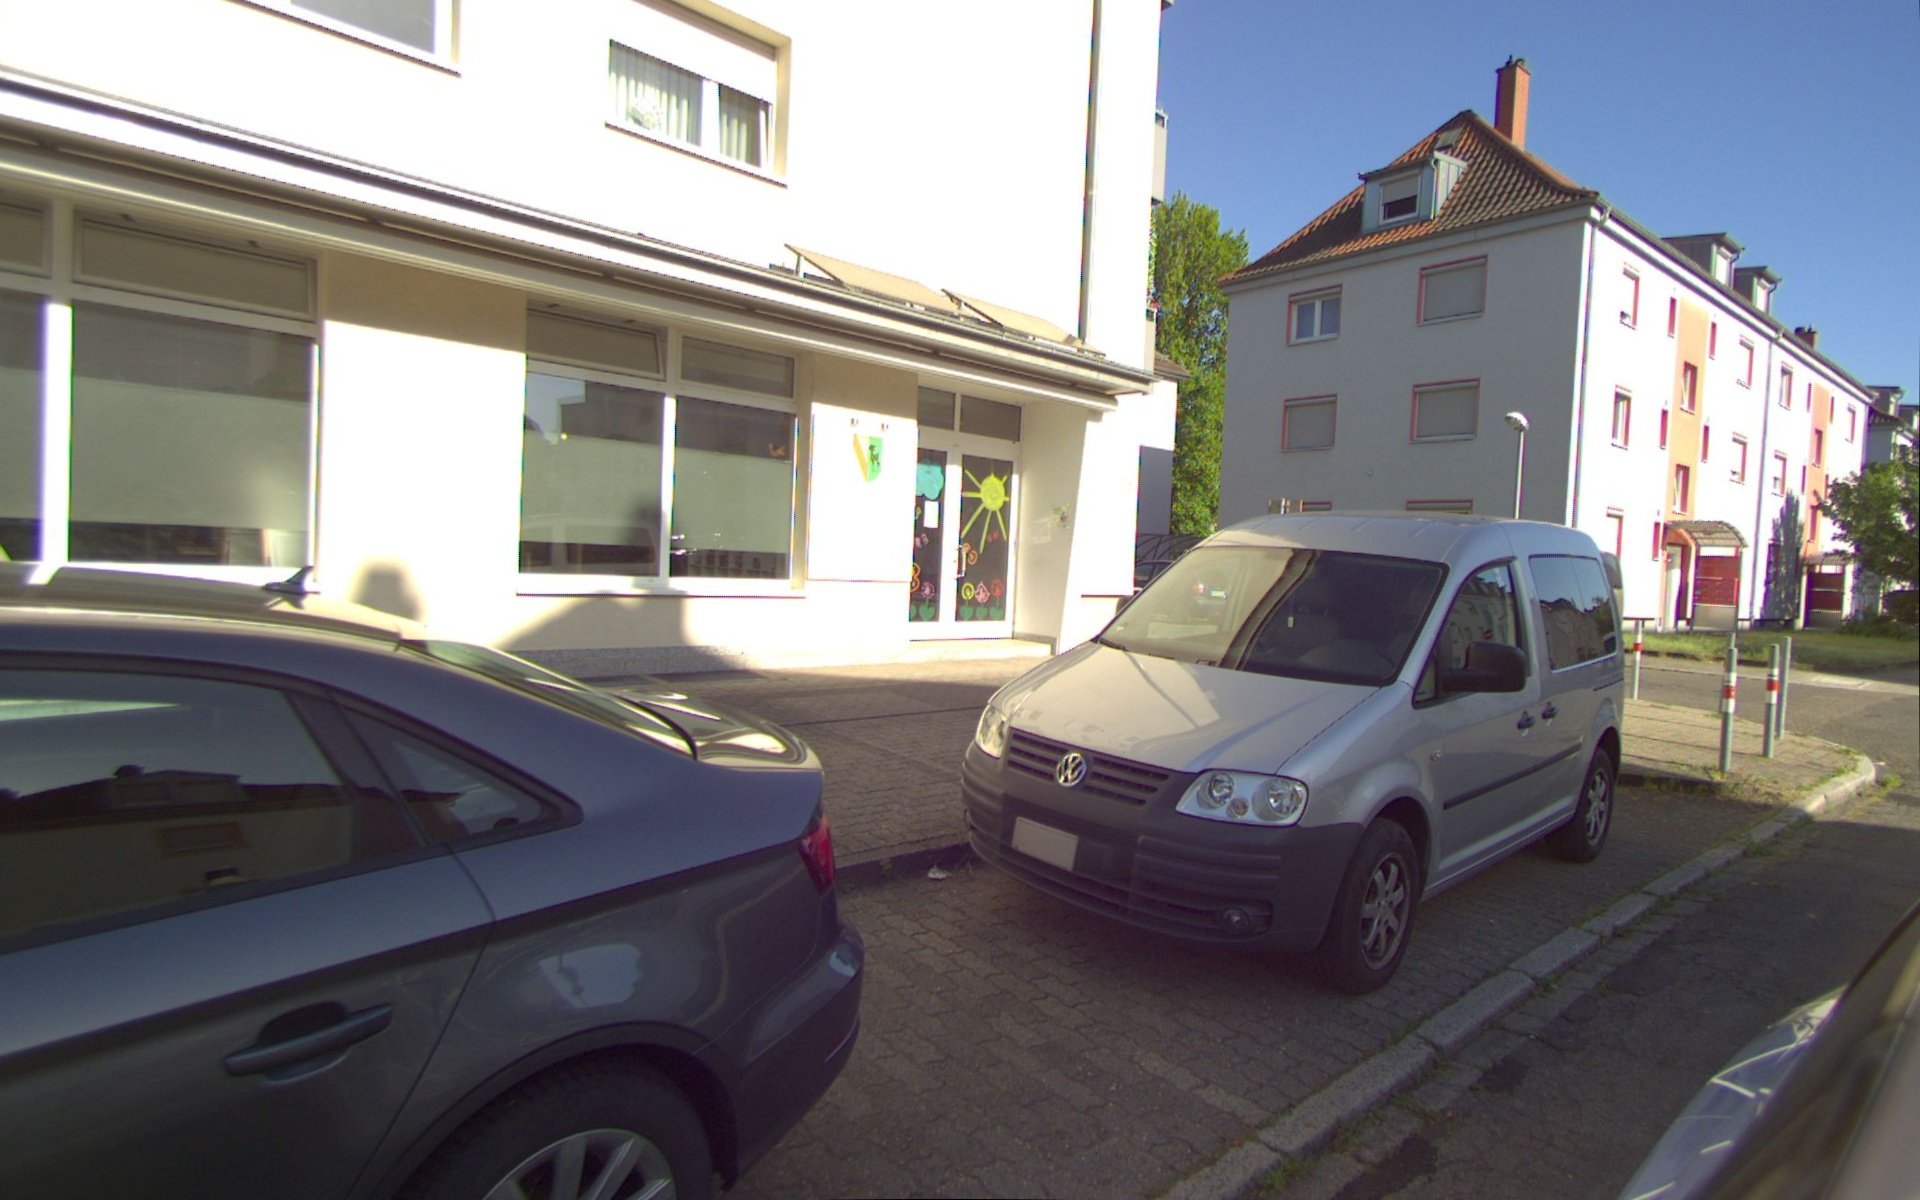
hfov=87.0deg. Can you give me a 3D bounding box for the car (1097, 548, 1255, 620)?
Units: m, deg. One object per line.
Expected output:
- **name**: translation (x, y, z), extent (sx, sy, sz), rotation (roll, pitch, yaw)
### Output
- **car**: translation (5.233, -0.433, 24.794), extent (1.650, 1.548, 3.484), rotation (0, 4, -38)

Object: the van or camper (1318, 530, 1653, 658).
- **van or camper**: translation (9.642, -0.203, 18.977), extent (1.965, 2.038, 5.134), rotation (2, 2, -41)

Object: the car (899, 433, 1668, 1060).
- **car**: translation (1.853, 0.355, 4.980), extent (4.062, 1.845, 1.750), rotation (0, 5, -43)

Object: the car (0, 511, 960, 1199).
- **car**: translation (-2.154, 0.602, 1.224), extent (1.678, 1.424, 4.473), rotation (1, 1, 44)
